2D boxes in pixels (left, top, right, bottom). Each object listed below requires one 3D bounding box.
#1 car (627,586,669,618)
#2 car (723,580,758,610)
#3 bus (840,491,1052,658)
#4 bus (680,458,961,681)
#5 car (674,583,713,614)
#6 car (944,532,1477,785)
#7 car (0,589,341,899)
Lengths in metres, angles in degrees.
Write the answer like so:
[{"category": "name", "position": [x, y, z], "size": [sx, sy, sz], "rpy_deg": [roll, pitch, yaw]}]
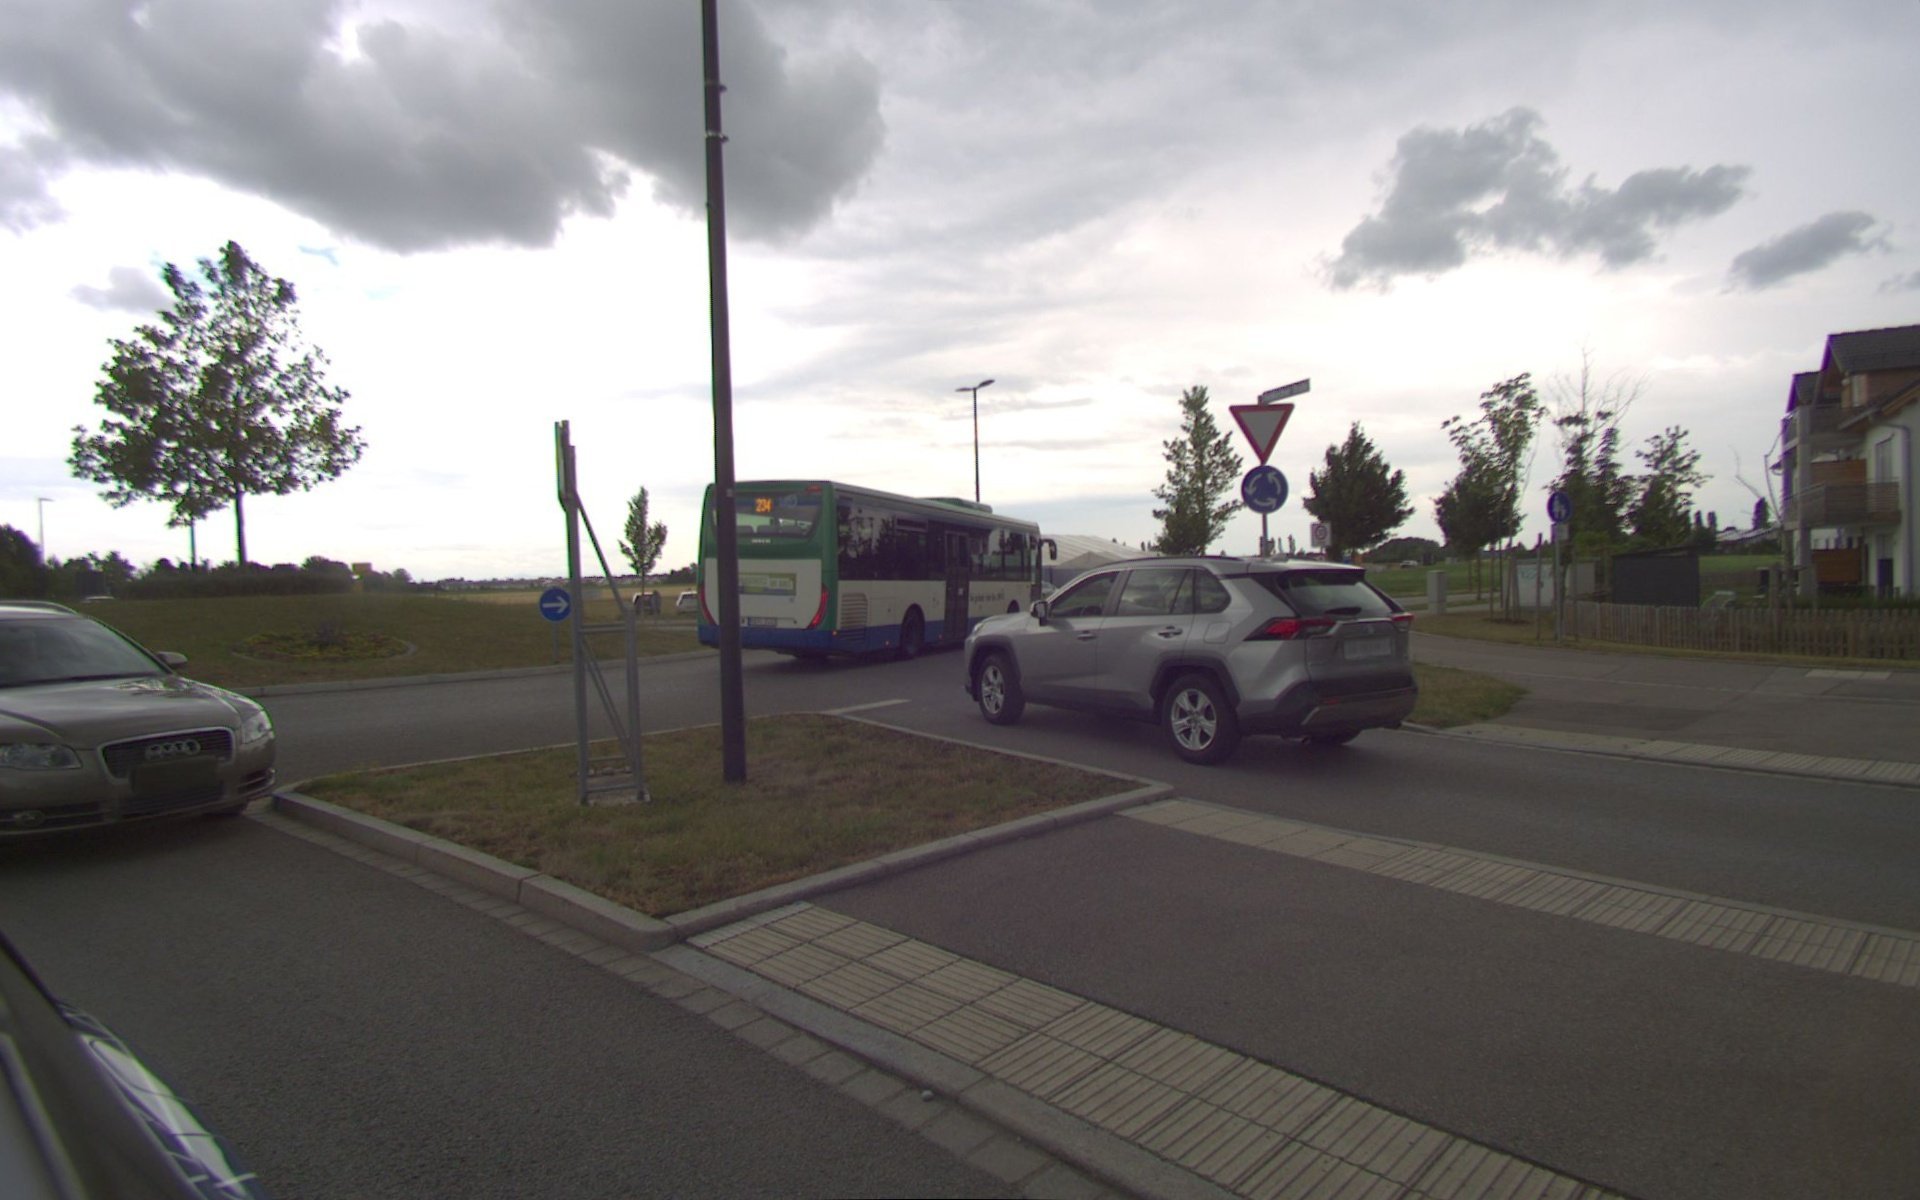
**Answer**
[{"category": "car", "position": [-18.326, 0.084, 59.604], "size": [1.689, 1.564, 4.008], "rpy_deg": [-4, 3, -8]}, {"category": "car", "position": [-13.164, -0.331, 60.958], "size": [1.689, 1.564, 4.008], "rpy_deg": [-4, 3, -8]}, {"category": "bus", "position": [-0.073, -0.536, 23.456], "size": [2.509, 3.282, 6.498], "rpy_deg": [0, 1, 23]}, {"category": "bus", "position": [-2.186, -0.475, 17.894], "size": [2.509, 3.282, 5.419], "rpy_deg": [0, 1, 23]}, {"category": "car", "position": [-15.851, -0.118, 60.306], "size": [1.689, 1.564, 4.008], "rpy_deg": [-4, 3, -8]}, {"category": "car", "position": [1.956, 0.378, 9.341], "size": [1.967, 1.716, 4.647], "rpy_deg": [-1, 1, -35]}, {"category": "car", "position": [-6.333, 0.726, 6.508], "size": [4.512, 1.476, 1.769], "rpy_deg": [-1, -1, 24]}]
